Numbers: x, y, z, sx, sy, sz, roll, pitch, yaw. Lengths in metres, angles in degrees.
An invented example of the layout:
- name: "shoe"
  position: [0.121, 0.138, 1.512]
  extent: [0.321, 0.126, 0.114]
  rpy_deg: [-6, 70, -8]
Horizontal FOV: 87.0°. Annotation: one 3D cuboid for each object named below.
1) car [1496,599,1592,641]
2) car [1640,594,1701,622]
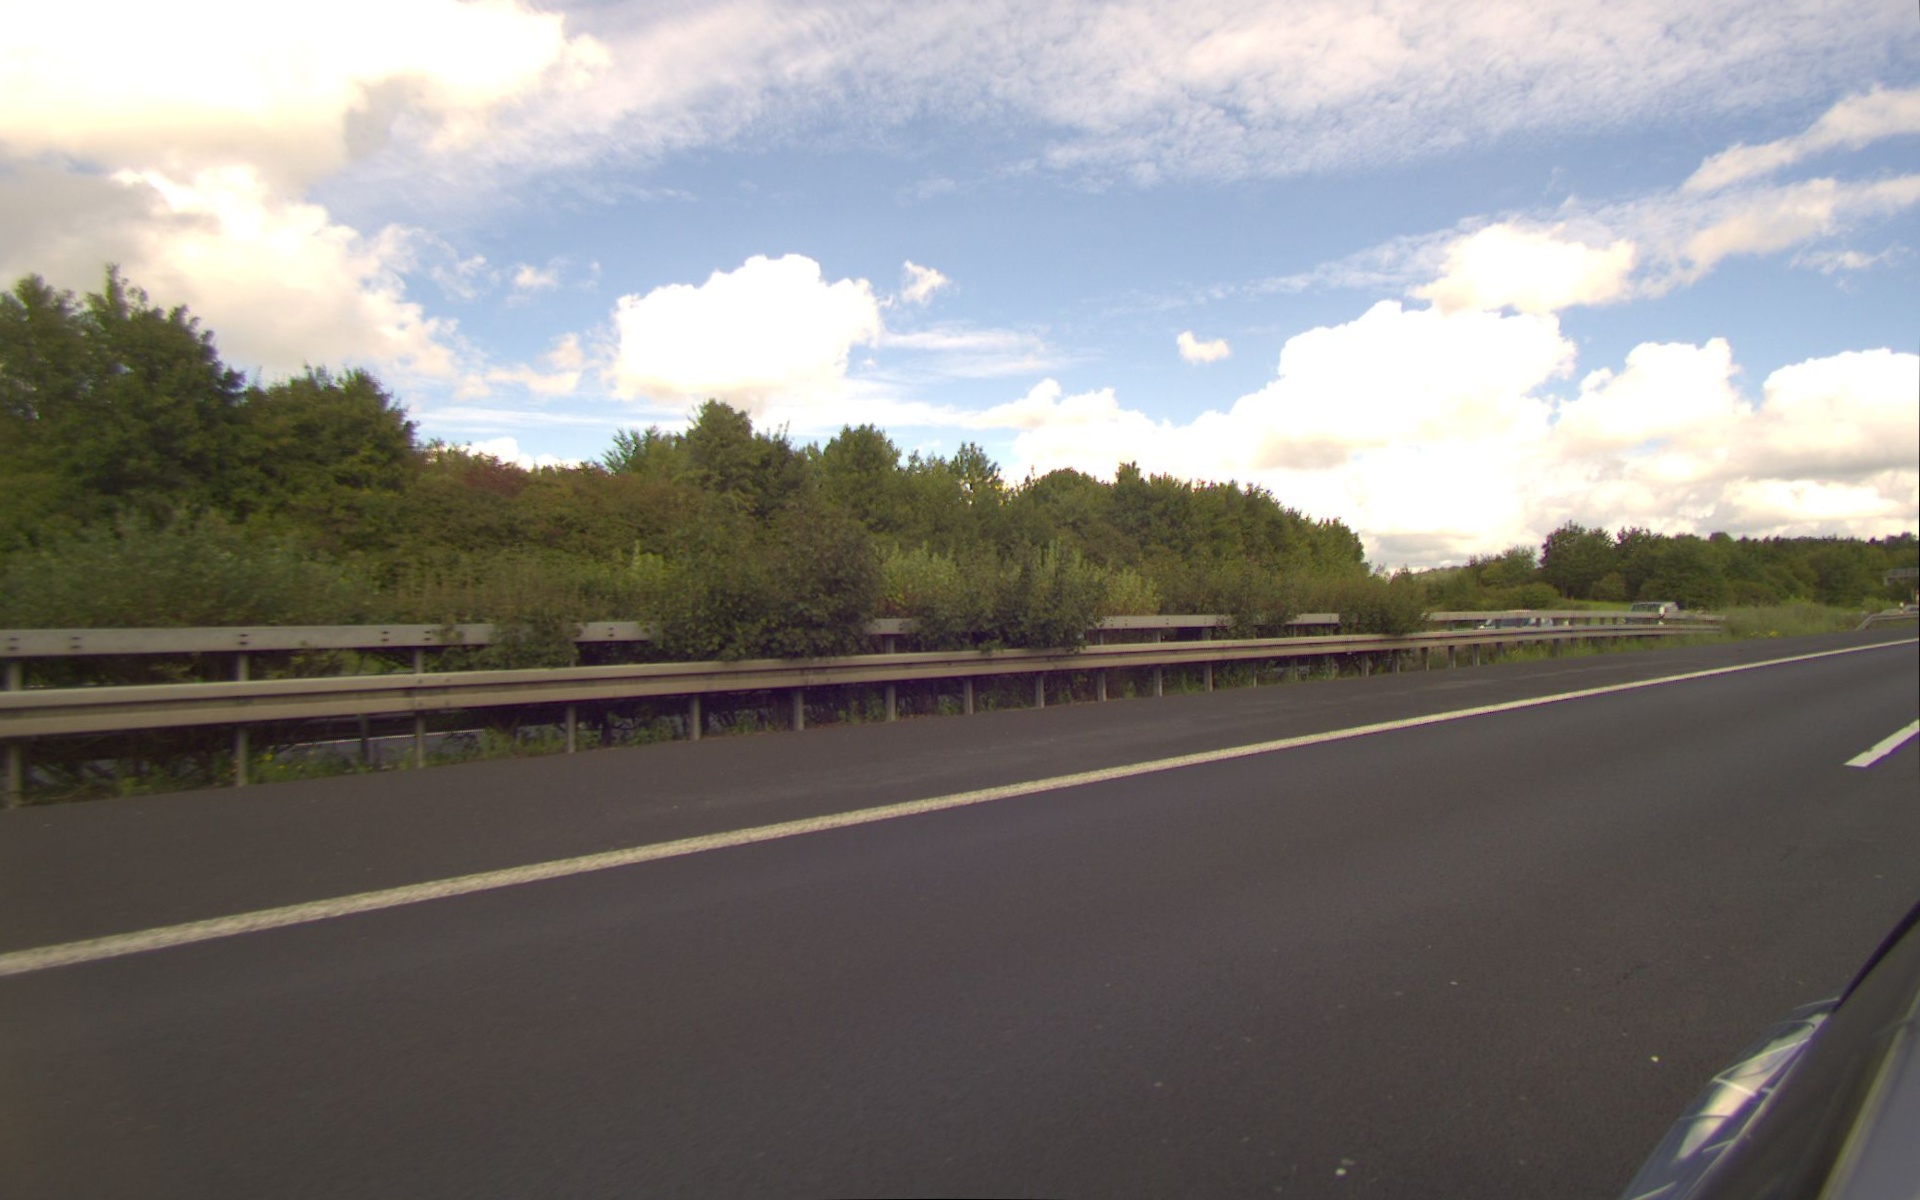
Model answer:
- name: "car"
  position: [23.099, 0.748, 39.960]
  extent: [4.593, 1.538, 1.788]
  rpy_deg: [-1, 0, -39]
- name: "car"
  position: [42.136, 0.445, 59.974]
  extent: [4.264, 1.591, 1.788]
  rpy_deg: [0, 0, -38]
